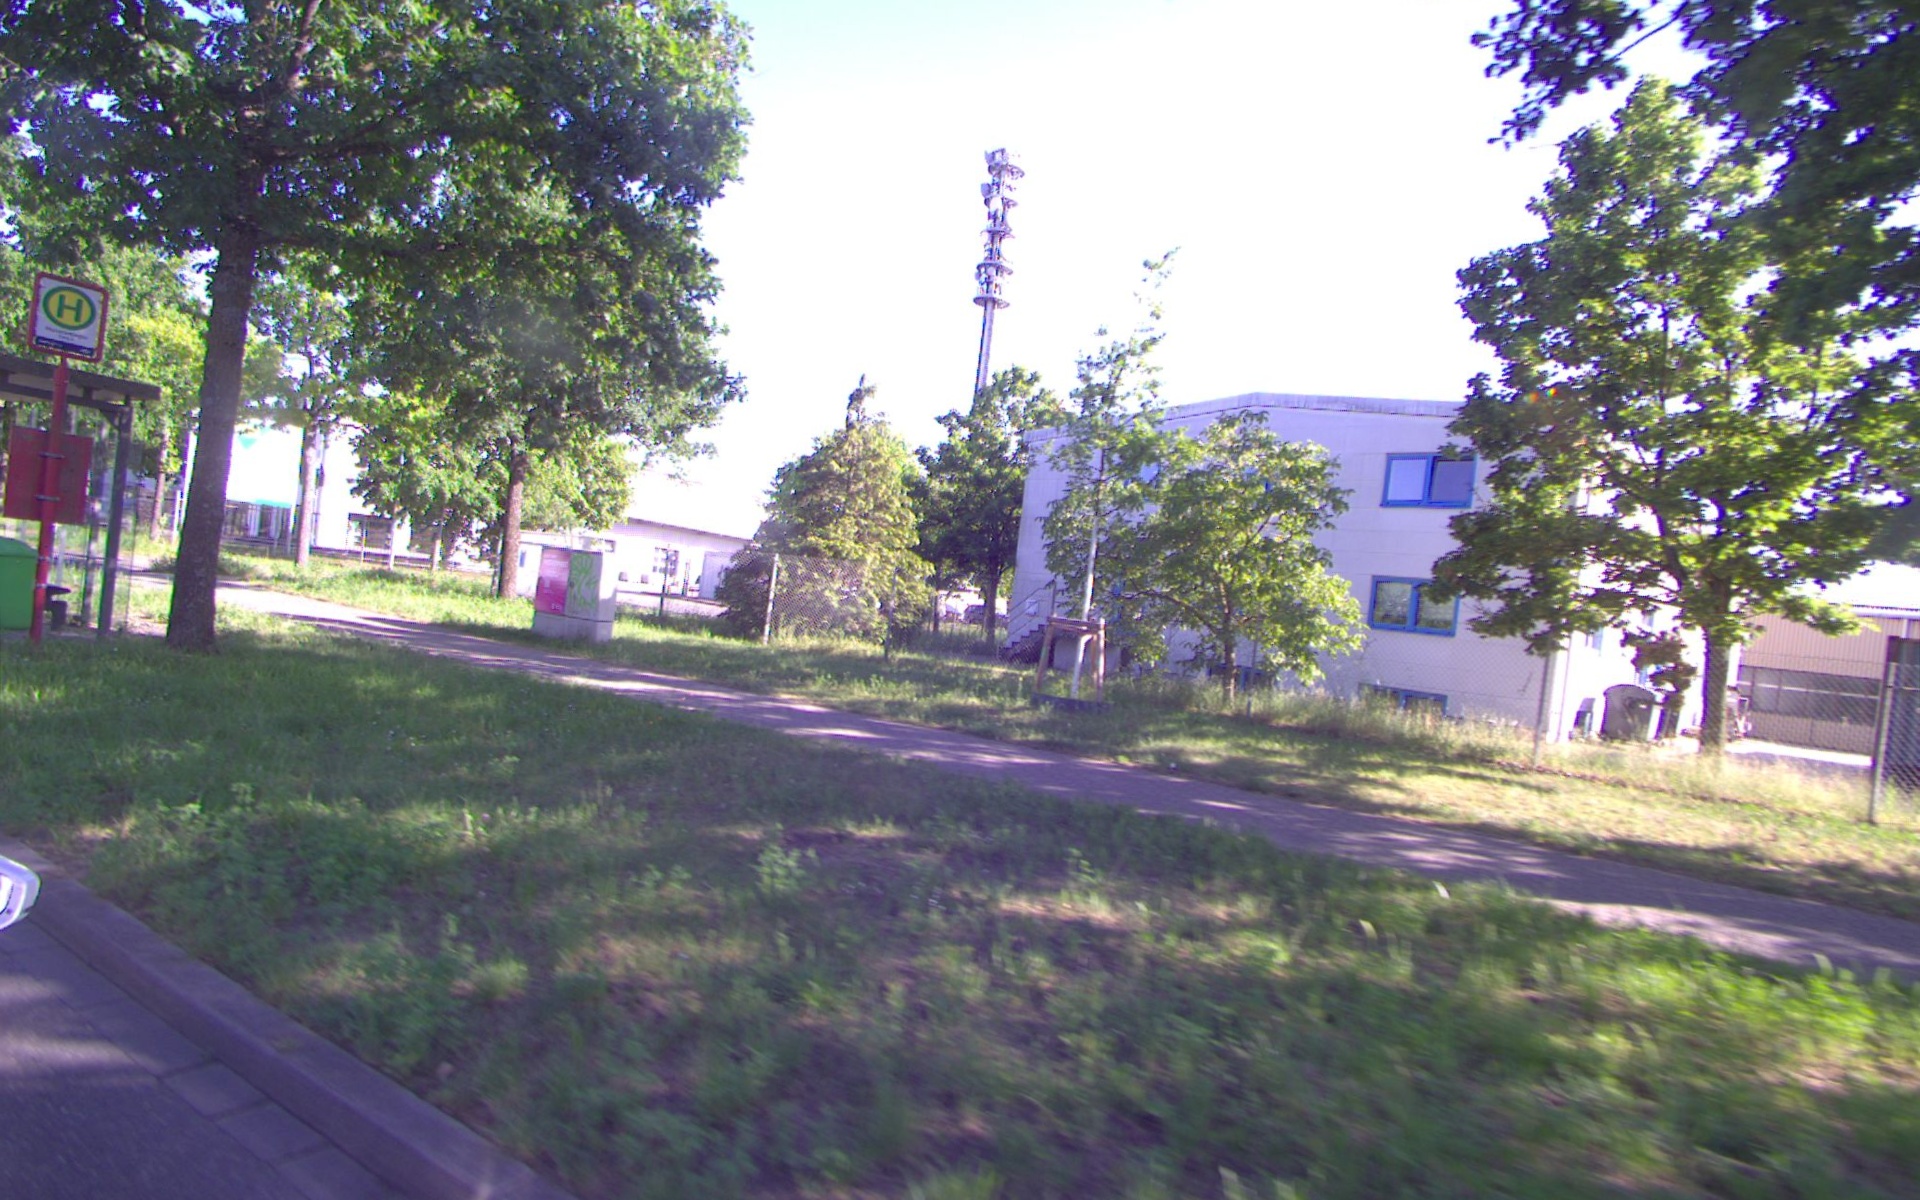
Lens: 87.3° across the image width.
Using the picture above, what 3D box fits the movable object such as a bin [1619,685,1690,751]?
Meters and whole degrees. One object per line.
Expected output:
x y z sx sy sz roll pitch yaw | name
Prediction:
16.934 2.883 24.543 1.180 1.424 1.047 6 1 -42 | movable object such as a bin

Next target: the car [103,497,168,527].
-52.669 -5.620 64.285 3.701 1.401 1.769 7 0 26 | car

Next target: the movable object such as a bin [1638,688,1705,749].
18.500 3.079 26.157 1.180 1.424 1.047 6 1 -42 | movable object such as a bin

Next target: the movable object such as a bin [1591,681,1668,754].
14.943 2.618 22.454 1.180 1.424 1.047 6 1 -42 | movable object such as a bin

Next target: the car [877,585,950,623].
-3.108 0.250 66.884 4.672 2.011 1.989 7 0 44 | car
